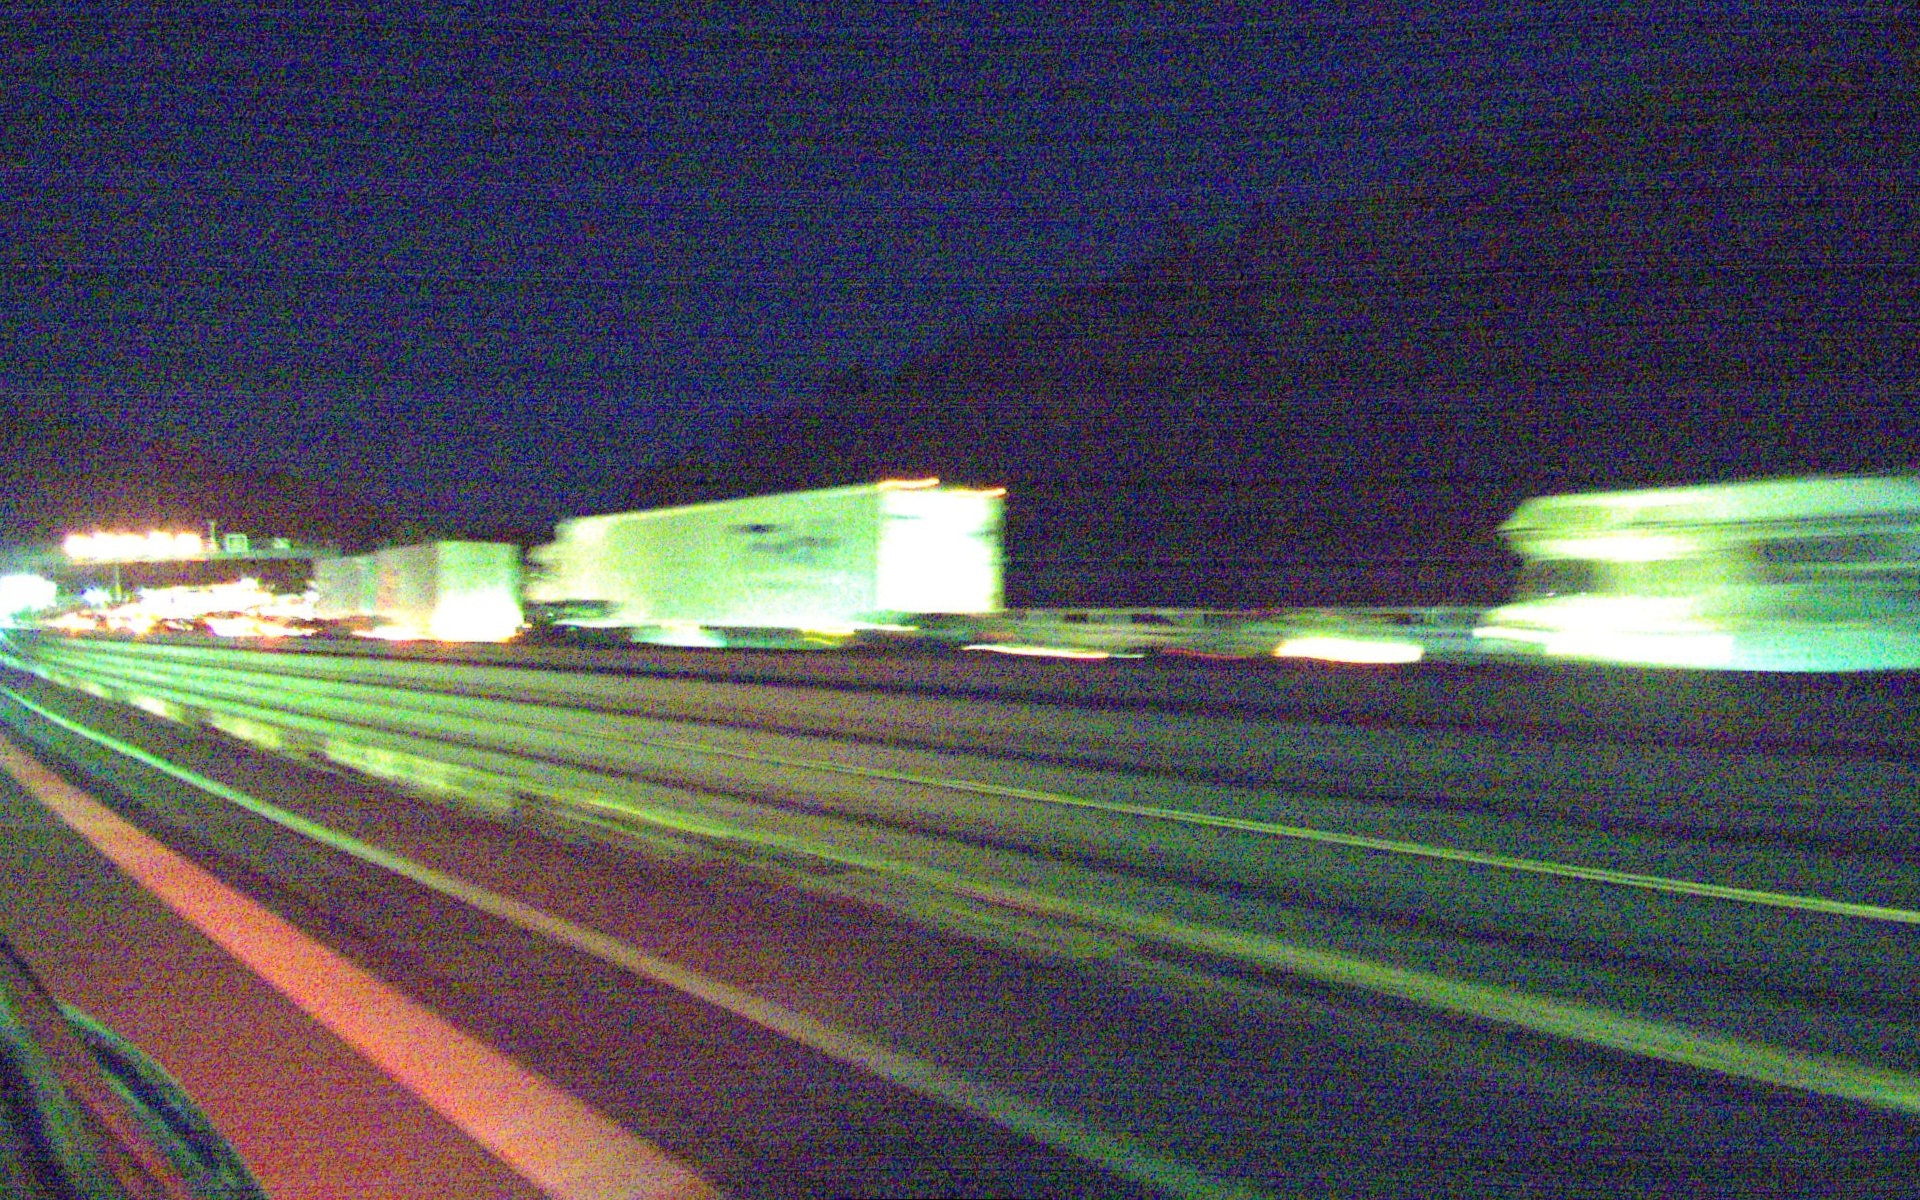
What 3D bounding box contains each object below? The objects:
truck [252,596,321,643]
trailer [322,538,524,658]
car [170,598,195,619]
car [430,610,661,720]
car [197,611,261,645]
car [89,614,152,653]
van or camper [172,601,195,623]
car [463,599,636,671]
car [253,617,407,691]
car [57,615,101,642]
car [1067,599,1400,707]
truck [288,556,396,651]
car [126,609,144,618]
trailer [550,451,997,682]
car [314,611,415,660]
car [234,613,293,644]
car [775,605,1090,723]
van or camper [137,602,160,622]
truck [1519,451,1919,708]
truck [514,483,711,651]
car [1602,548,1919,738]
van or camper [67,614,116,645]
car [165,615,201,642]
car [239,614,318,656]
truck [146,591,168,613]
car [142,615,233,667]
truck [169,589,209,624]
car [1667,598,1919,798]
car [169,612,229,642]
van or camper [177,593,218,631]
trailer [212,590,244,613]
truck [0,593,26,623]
[{"bbox_3d":[-36.919,1.033,55.416,5.050,2.477,1.972,-1,0,42],"label":"truck"},{"bbox_3d":[-22.416,0.047,41.475,14.525,4.216,2.844,-1,-1,44],"label":"trailer"},{"bbox_3d":[-88.301,0.979,114.954,2.104,2.284,4.571,1,-1,-40],"label":"car"},{"bbox_3d":[-6.811,0.952,16.317,4.868,1.503,1.608,-1,-1,44],"label":"car"},{"bbox_3d":[-34.646,1.271,47.924,1.881,1.503,4.942,-1,0,-43],"label":"car"},{"bbox_3d":[-35.581,1.379,42.842,1.881,1.503,4.873,-1,0,-42],"label":"car"},{"bbox_3d":[-105.076,1.603,136.968,2.413,2.781,6.503,0,1,-37],"label":"van or camper"},{"bbox_3d":[-9.628,0.747,23.516,4.868,1.503,1.883,-1,0,43],"label":"car"},{"bbox_3d":[-14.844,1.174,23.715,4.868,1.503,1.883,-1,0,43],"label":"car"},{"bbox_3d":[-53.871,1.705,61.846,1.881,1.503,4.872,-1,0,-43],"label":"car"},{"bbox_3d":[4.284,0.777,16.361,4.864,1.503,1.884,-1,-1,40],"label":"car"},{"bbox_3d":[-29.403,0.187,48.041,6.106,4.242,2.834,-1,0,43],"label":"truck"},{"bbox_3d":[-125.156,2.053,153.471,1.809,1.462,4.516,0,-1,-35],"label":"car"},{"bbox_3d":[-5.535,-0.556,25.598,14.518,4.498,2.809,-1,-2,42],"label":"trailer"},{"bbox_3d":[-20.489,1.165,34.716,1.881,1.503,5.265,-1,0,-43],"label":"car"},{"bbox_3d":[-40.868,1.628,59.350,5.080,1.689,1.865,-1,0,44],"label":"car"},{"bbox_3d":[-0.565,0.855,15.514,4.866,1.503,1.884,-1,0,42],"label":"car"},{"bbox_3d":[-110.567,1.607,137.995,2.226,2.614,6.701,1,0,-37],"label":"van or camper"},{"bbox_3d":[12.467,-0.251,14.030,7.907,3.243,2.469,-1,-1,40],"label":"truck"},{"bbox_3d":[-10.263,-0.802,29.674,5.955,4.301,2.588,-1,-6,42],"label":"truck"},{"bbox_3d":[10.052,0.433,10.985,5.015,1.901,1.885,-1,-1,39],"label":"car"},{"bbox_3d":[-44.639,1.476,51.979,1.718,1.476,4.872,-1,0,-43],"label":"van or camper"},{"bbox_3d":[-46.228,1.667,60.205,1.677,1.474,3.488,0,0,-38],"label":"car"},{"bbox_3d":[-27.064,1.329,40.115,1.881,1.503,4.872,-1,0,-43],"label":"car"},{"bbox_3d":[-142.120,0.270,179.215,2.620,3.617,8.570,-2,2,-36],"label":"truck"},{"bbox_3d":[-25.113,1.273,32.827,1.881,1.503,4.872,-1,0,-43],"label":"car"},{"bbox_3d":[-75.684,0.583,99.304,2.347,3.284,7.731,1,0,-43],"label":"truck"},{"bbox_3d":[8.525,0.735,7.893,4.860,1.503,1.886,-1,0,38],"label":"car"},{"bbox_3d":[-42.622,1.495,56.660,4.349,1.535,1.877,1,-1,43],"label":"car"},{"bbox_3d":[-63.369,0.957,84.050,2.195,3.026,7.134,0,0,-41],"label":"van or camper"},{"bbox_3d":[-145.005,0.175,200.620,3.387,4.273,12.873,1,1,-28],"label":"trailer"},{"bbox_3d":[-133.073,1.096,141.788,2.856,4.001,4.008,-2,2,-38],"label":"truck"}]
